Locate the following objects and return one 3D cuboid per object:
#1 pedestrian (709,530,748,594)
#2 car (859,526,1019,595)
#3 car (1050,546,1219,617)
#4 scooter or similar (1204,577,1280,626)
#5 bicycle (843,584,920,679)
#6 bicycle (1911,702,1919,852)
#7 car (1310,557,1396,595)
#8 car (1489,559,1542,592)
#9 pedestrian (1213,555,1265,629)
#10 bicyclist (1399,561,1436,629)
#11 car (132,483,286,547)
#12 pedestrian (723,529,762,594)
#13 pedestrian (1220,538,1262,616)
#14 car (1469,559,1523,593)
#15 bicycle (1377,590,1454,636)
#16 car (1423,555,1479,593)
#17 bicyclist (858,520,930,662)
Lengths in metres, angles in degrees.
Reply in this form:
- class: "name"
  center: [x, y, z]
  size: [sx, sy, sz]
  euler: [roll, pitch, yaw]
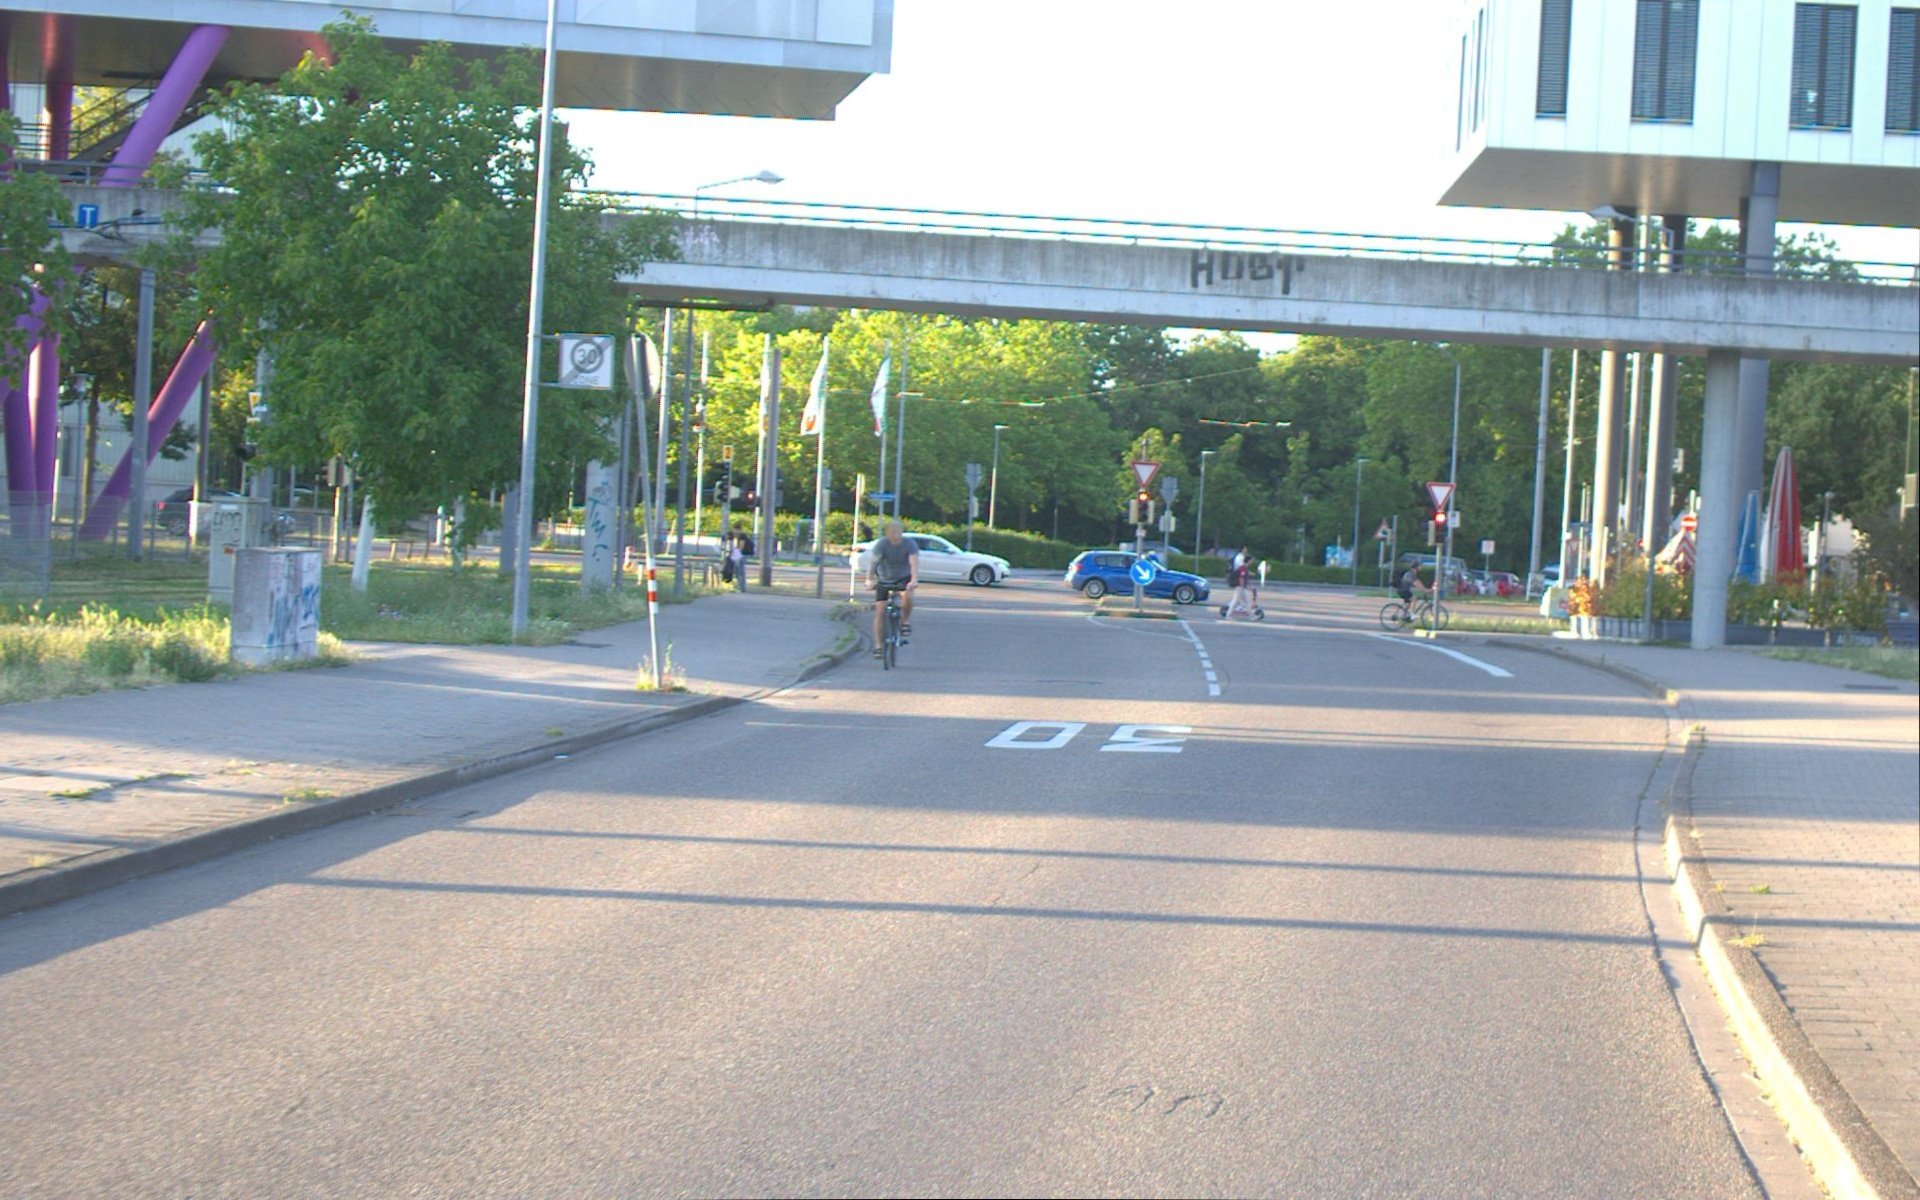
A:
- class: "pedestrian"
  center: [-6.005, -0.988, 89.279]
  size: [0.687, 1.618, 0.711]
  euler: [4, 2, 21]
- class: "car"
  center: [-0.621, -1.225, 105.703]
  size: [4.688, 1.822, 1.834]
  euler: [3, 2, 5]
- class: "car"
  center: [5.187, -0.561, 102.506]
  size: [4.712, 1.822, 1.893]
  euler: [3, 2, -5]
- class: "scooter or similar"
  center: [7.450, 0.040, 90.938]
  size: [1.859, 1.170, 0.764]
  euler: [3, 2, -4]
- class: "bicycle"
  center: [-0.936, 0.365, 41.383]
  size: [0.539, 1.039, 1.924]
  euler: [3, 2, 9]
- class: "bicycle"
  center: [5.282, 0.786, 17.785]
  size: [0.450, 1.164, 1.940]
  euler: [3, 2, 10]
- class: "car"
  center: [22.667, -1.391, 198.052]
  size: [4.687, 1.862, 2.012]
  euler: [4, 2, 11]
- class: "car"
  center: [28.695, -1.274, 177.603]
  size: [1.500, 1.600, 3.397]
  euler: [4, 2, 30]
- class: "pedestrian"
  center: [7.172, -0.206, 88.432]
  size: [1.053, 1.827, 0.895]
  euler: [3, 2, -9]
- class: "bicyclist"
  center: [12.073, -0.127, 90.781]
  size: [0.861, 1.725, 0.605]
  euler: [3, 2, 9]
- class: "car"
  center: [-24.432, -2.771, 111.935]
  size: [4.467, 1.810, 1.945]
  euler: [3, 2, 3]
- class: "pedestrian"
  center: [-5.685, -1.021, 89.969]
  size: [0.701, 1.658, 0.711]
  euler: [4, 2, 21]
- class: "pedestrian"
  center: [7.426, -0.618, 90.920]
  size: [0.909, 1.983, 0.772]
  euler: [3, 2, -4]
- class: "car"
  center: [27.195, -1.210, 174.304]
  size: [1.500, 1.600, 3.397]
  euler: [4, 2, 30]
- class: "bicycle"
  center: [12.034, 0.347, 90.806]
  size: [1.971, 1.088, 0.622]
  euler: [3, 2, 8]
- class: "car"
  center: [24.348, -1.288, 170.489]
  size: [1.500, 1.754, 3.397]
  euler: [4, 2, 30]
- class: "bicyclist"
  center: [-0.792, -0.119, 41.386]
  size: [0.615, 1.657, 1.036]
  euler: [3, 2, 9]
